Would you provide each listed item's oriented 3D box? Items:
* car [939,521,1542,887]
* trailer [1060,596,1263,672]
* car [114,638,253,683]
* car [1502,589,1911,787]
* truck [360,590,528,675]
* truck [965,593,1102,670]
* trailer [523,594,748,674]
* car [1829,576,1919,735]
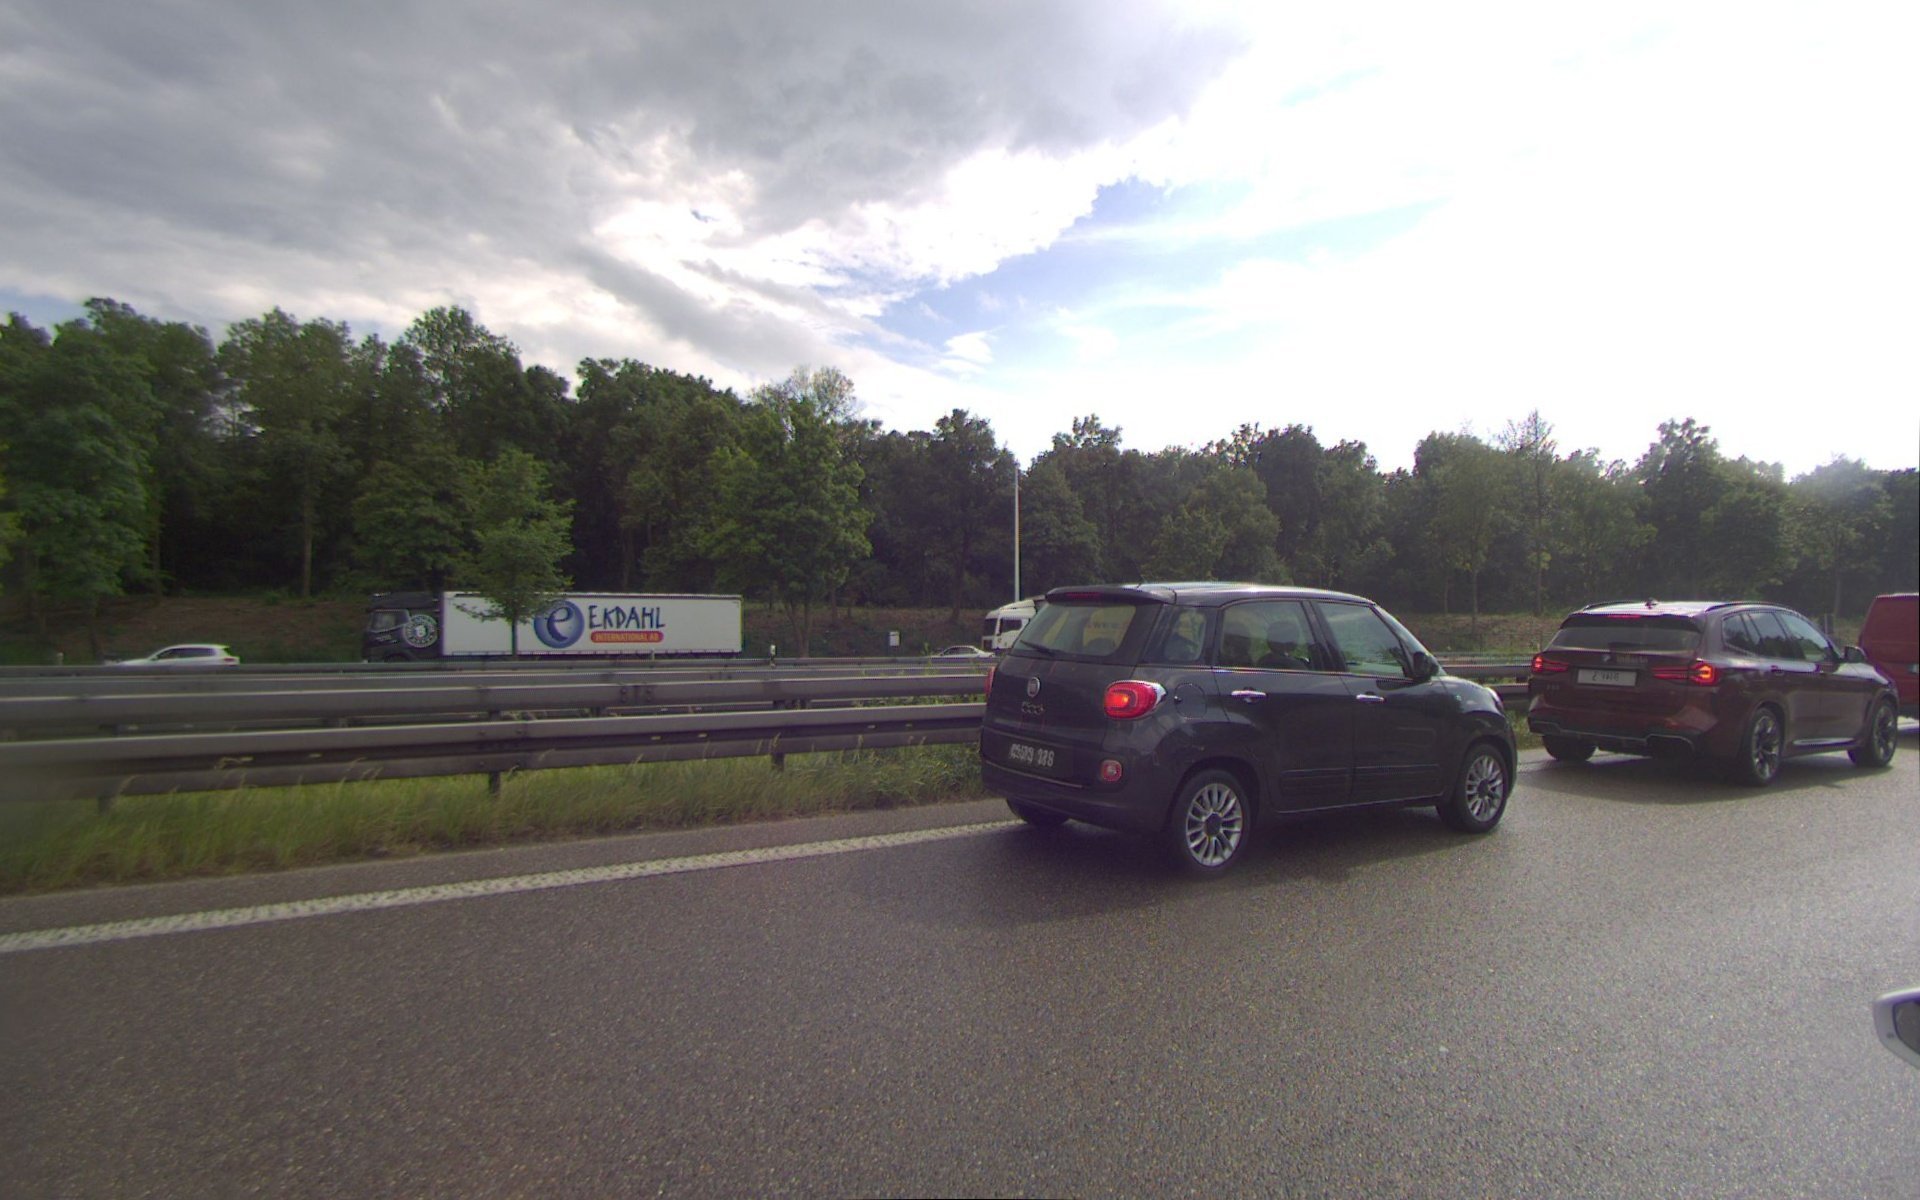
[{"bbox_3d":[1.985,0.567,6.778,3.931,1.829,1.683,2,0,-32],"label":"car"},{"bbox_3d":[12.103,2.032,60.319,11.538,4.171,3.786,2,0,-17],"label":"trailer"},{"bbox_3d":[-32.823,2.534,42.611,4.313,1.741,2.050,2,0,-28],"label":"car"},{"bbox_3d":[7.867,0.815,10.472,4.565,1.658,1.899,2,-2,-32],"label":"car"},{"bbox_3d":[-23.788,1.483,46.755,6.615,3.709,3.776,2,0,-25],"label":"truck"},{"bbox_3d":[4.185,1.782,57.848,6.933,4.171,3.786,2,0,-17],"label":"truck"},{"bbox_3d":[-16.160,1.680,50.255,10.349,3.697,3.780,1,-1,-24],"label":"trailer"},{"bbox_3d":[14.569,0.790,14.282,4.702,2.082,1.968,2,0,-31],"label":"car"}]
